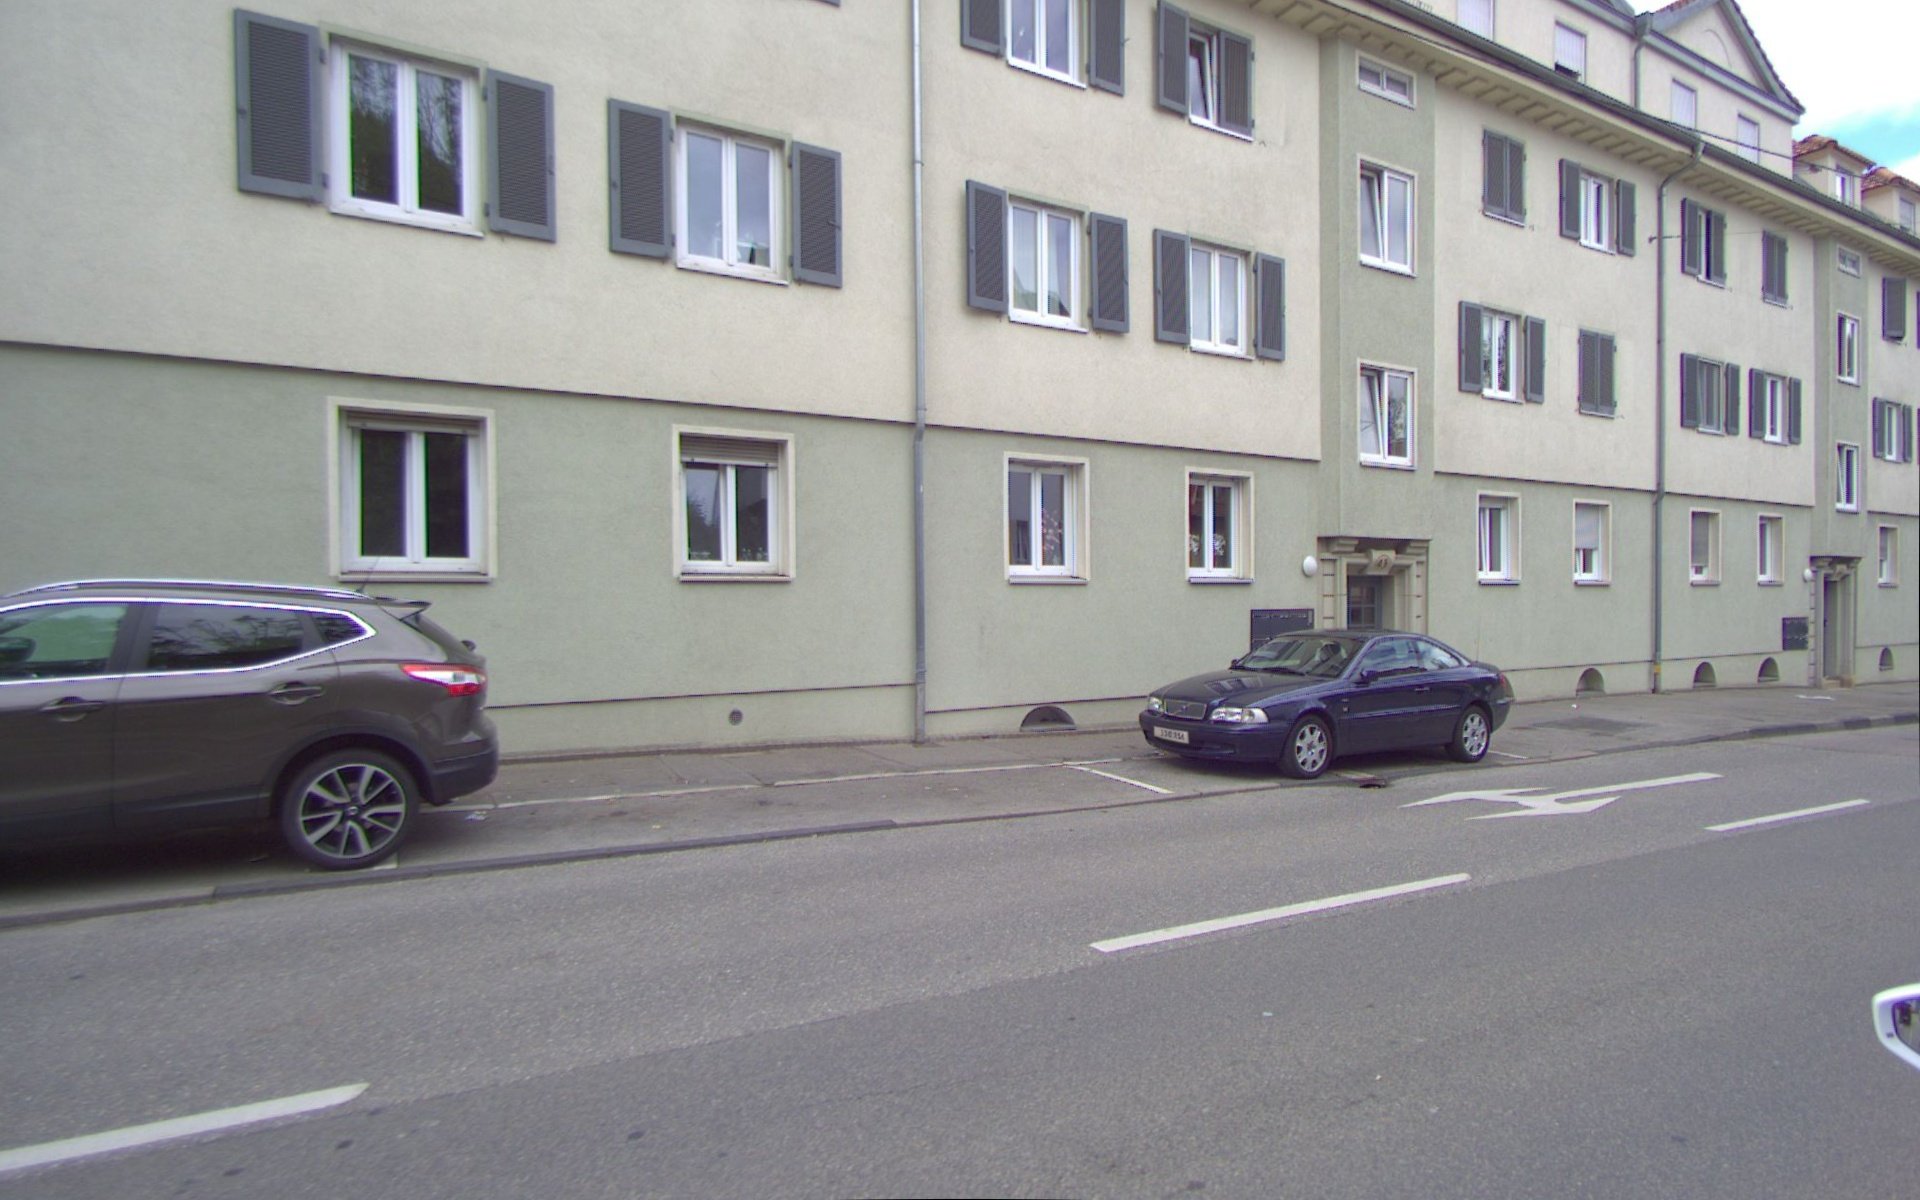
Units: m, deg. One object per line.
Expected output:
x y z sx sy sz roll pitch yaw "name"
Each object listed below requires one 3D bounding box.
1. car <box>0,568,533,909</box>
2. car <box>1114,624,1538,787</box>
-5.054 0.663 5.686 4.644 1.655 1.812 1 0 -32 "car"
4.085 1.000 10.921 4.790 1.422 1.702 1 -1 -31 "car"
